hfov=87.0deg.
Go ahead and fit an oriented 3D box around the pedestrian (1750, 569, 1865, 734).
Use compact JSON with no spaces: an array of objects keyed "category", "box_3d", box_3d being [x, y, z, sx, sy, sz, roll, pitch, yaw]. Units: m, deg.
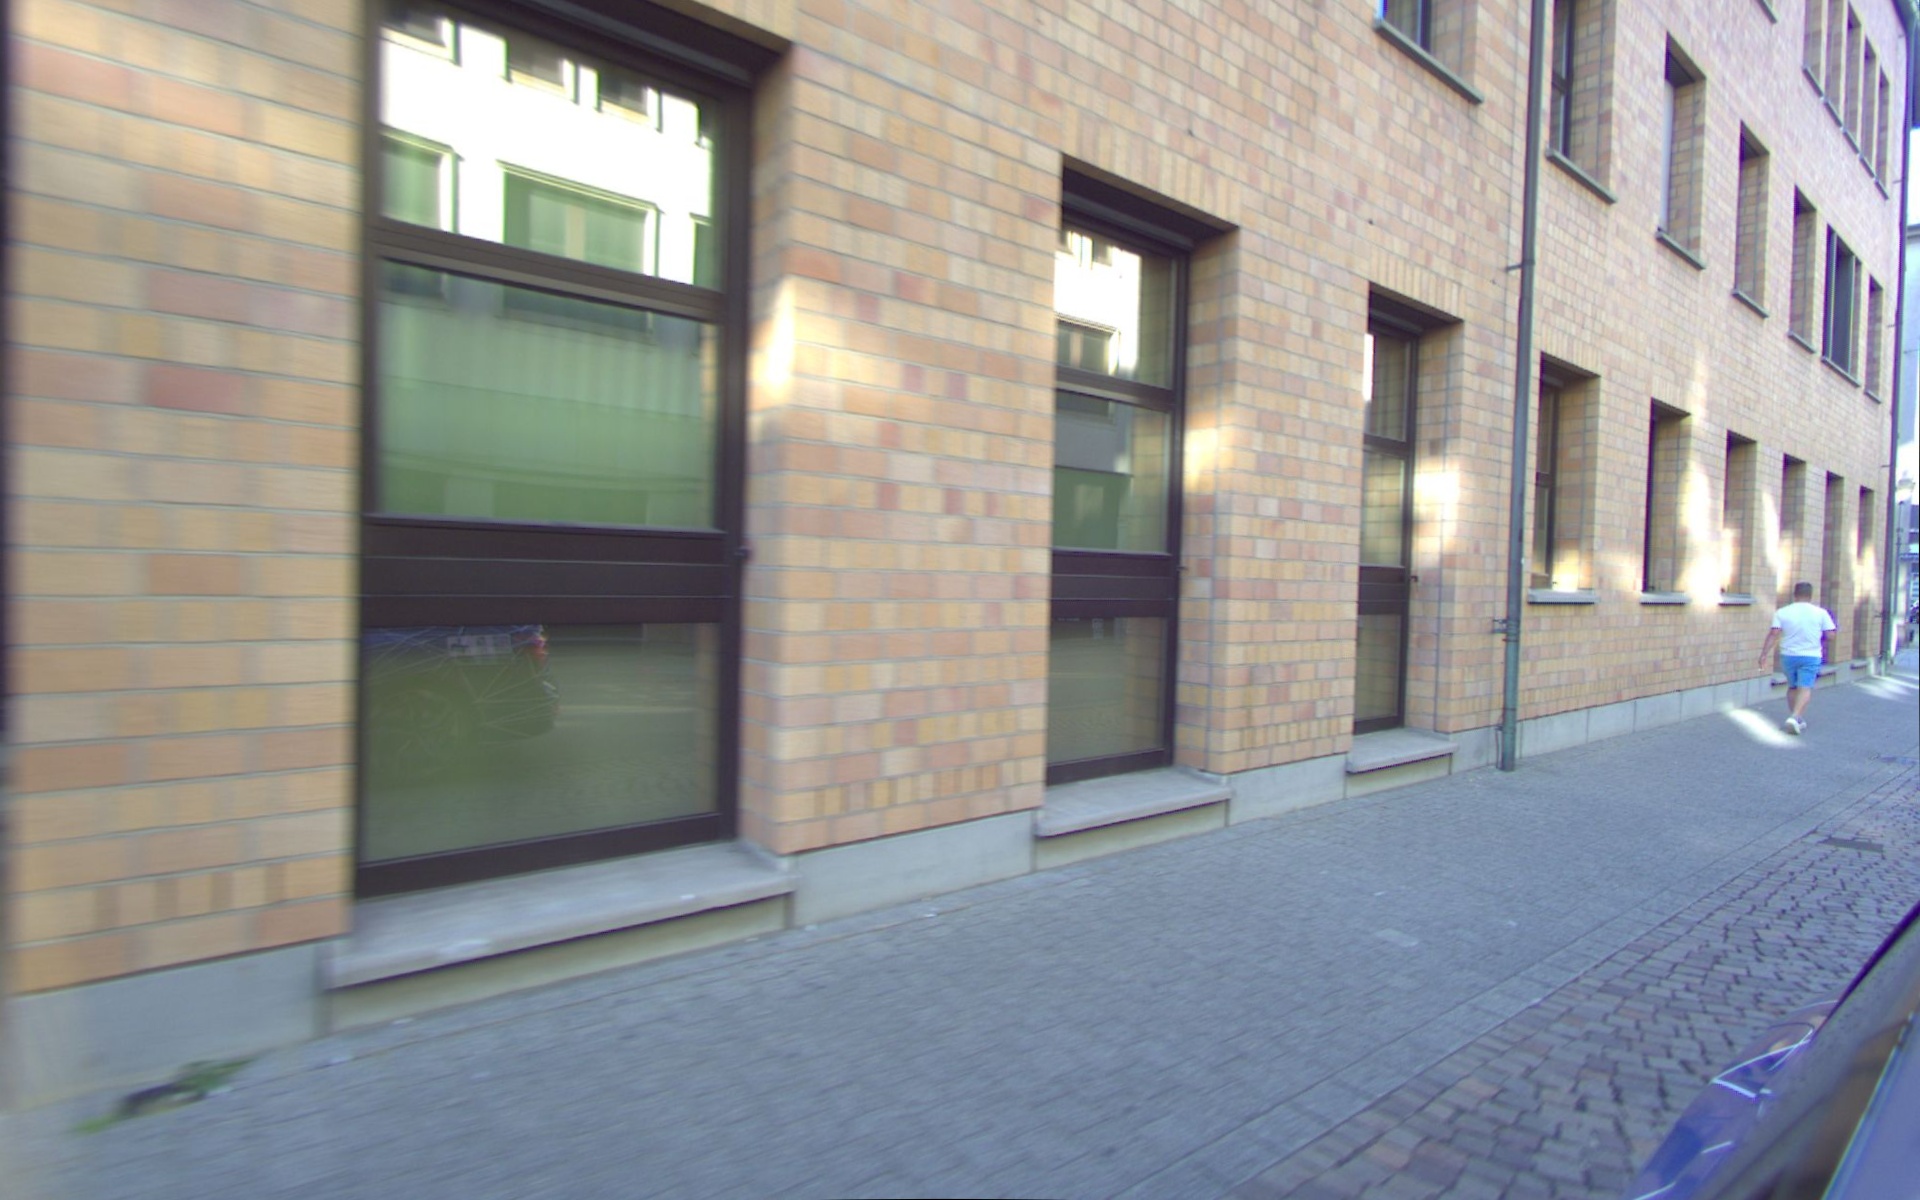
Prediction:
[{"category":"pedestrian","box_3d":[9.549,0.543,11.405,0.807,1.737,0.762,0,3,-40]}]
